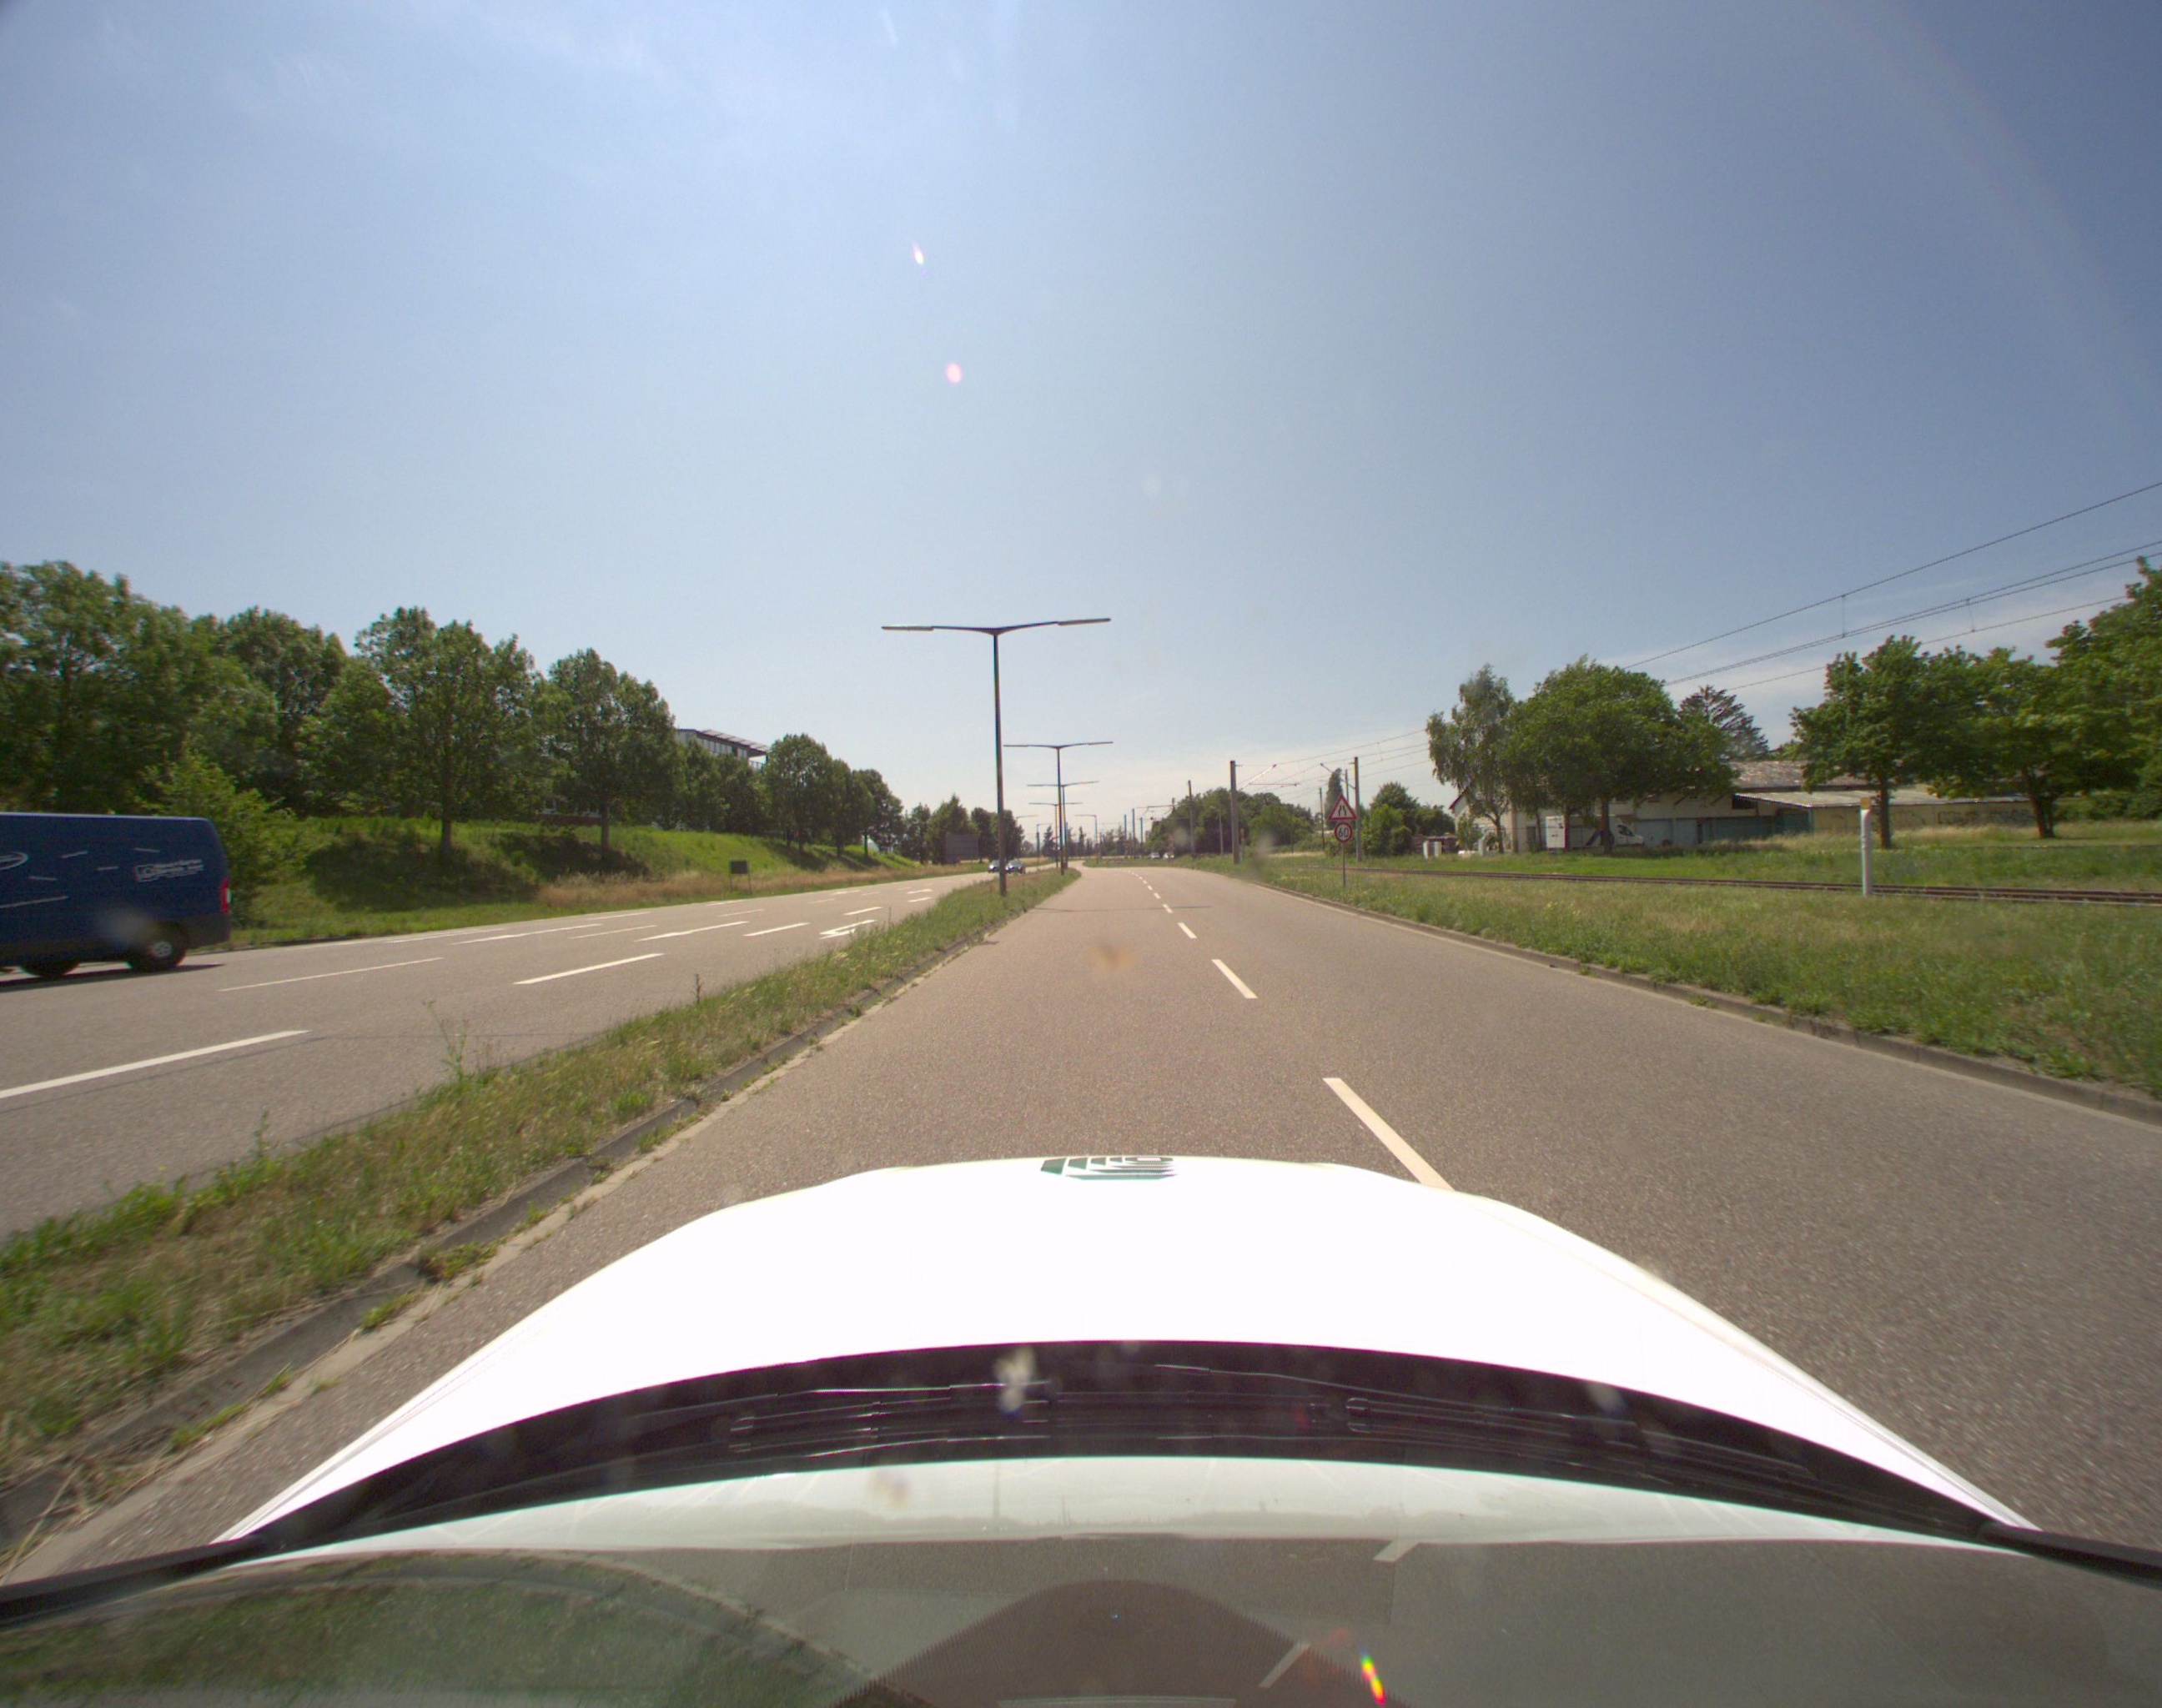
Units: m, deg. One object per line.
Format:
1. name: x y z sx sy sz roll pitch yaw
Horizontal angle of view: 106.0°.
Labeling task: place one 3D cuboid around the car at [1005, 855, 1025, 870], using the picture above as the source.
1. car: -6.829 0.893 84.292 1.686 1.492 4.000 -2 0 0

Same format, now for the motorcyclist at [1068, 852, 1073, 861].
1. motorcyclist: -2.899 0.706 227.307 1.225 2.351 1.108 -1 -1 4

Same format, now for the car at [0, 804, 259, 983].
1. car: -15.627 0.564 11.398 2.163 2.411 5.678 -2 0 5

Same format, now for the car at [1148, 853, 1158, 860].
1. car: 15.354 0.501 172.920 1.668 1.397 3.646 0 -1 -3

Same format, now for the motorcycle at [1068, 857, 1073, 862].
1. motorcycle: -2.916 1.559 227.167 0.985 1.581 3.404 -1 -1 4

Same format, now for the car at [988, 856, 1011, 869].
1. car: -9.420 0.974 94.044 1.986 1.360 4.668 -2 0 2

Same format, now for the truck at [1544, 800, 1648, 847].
1. truck: 35.469 -2.075 56.185 5.834 2.843 2.315 -3 -1 -7
